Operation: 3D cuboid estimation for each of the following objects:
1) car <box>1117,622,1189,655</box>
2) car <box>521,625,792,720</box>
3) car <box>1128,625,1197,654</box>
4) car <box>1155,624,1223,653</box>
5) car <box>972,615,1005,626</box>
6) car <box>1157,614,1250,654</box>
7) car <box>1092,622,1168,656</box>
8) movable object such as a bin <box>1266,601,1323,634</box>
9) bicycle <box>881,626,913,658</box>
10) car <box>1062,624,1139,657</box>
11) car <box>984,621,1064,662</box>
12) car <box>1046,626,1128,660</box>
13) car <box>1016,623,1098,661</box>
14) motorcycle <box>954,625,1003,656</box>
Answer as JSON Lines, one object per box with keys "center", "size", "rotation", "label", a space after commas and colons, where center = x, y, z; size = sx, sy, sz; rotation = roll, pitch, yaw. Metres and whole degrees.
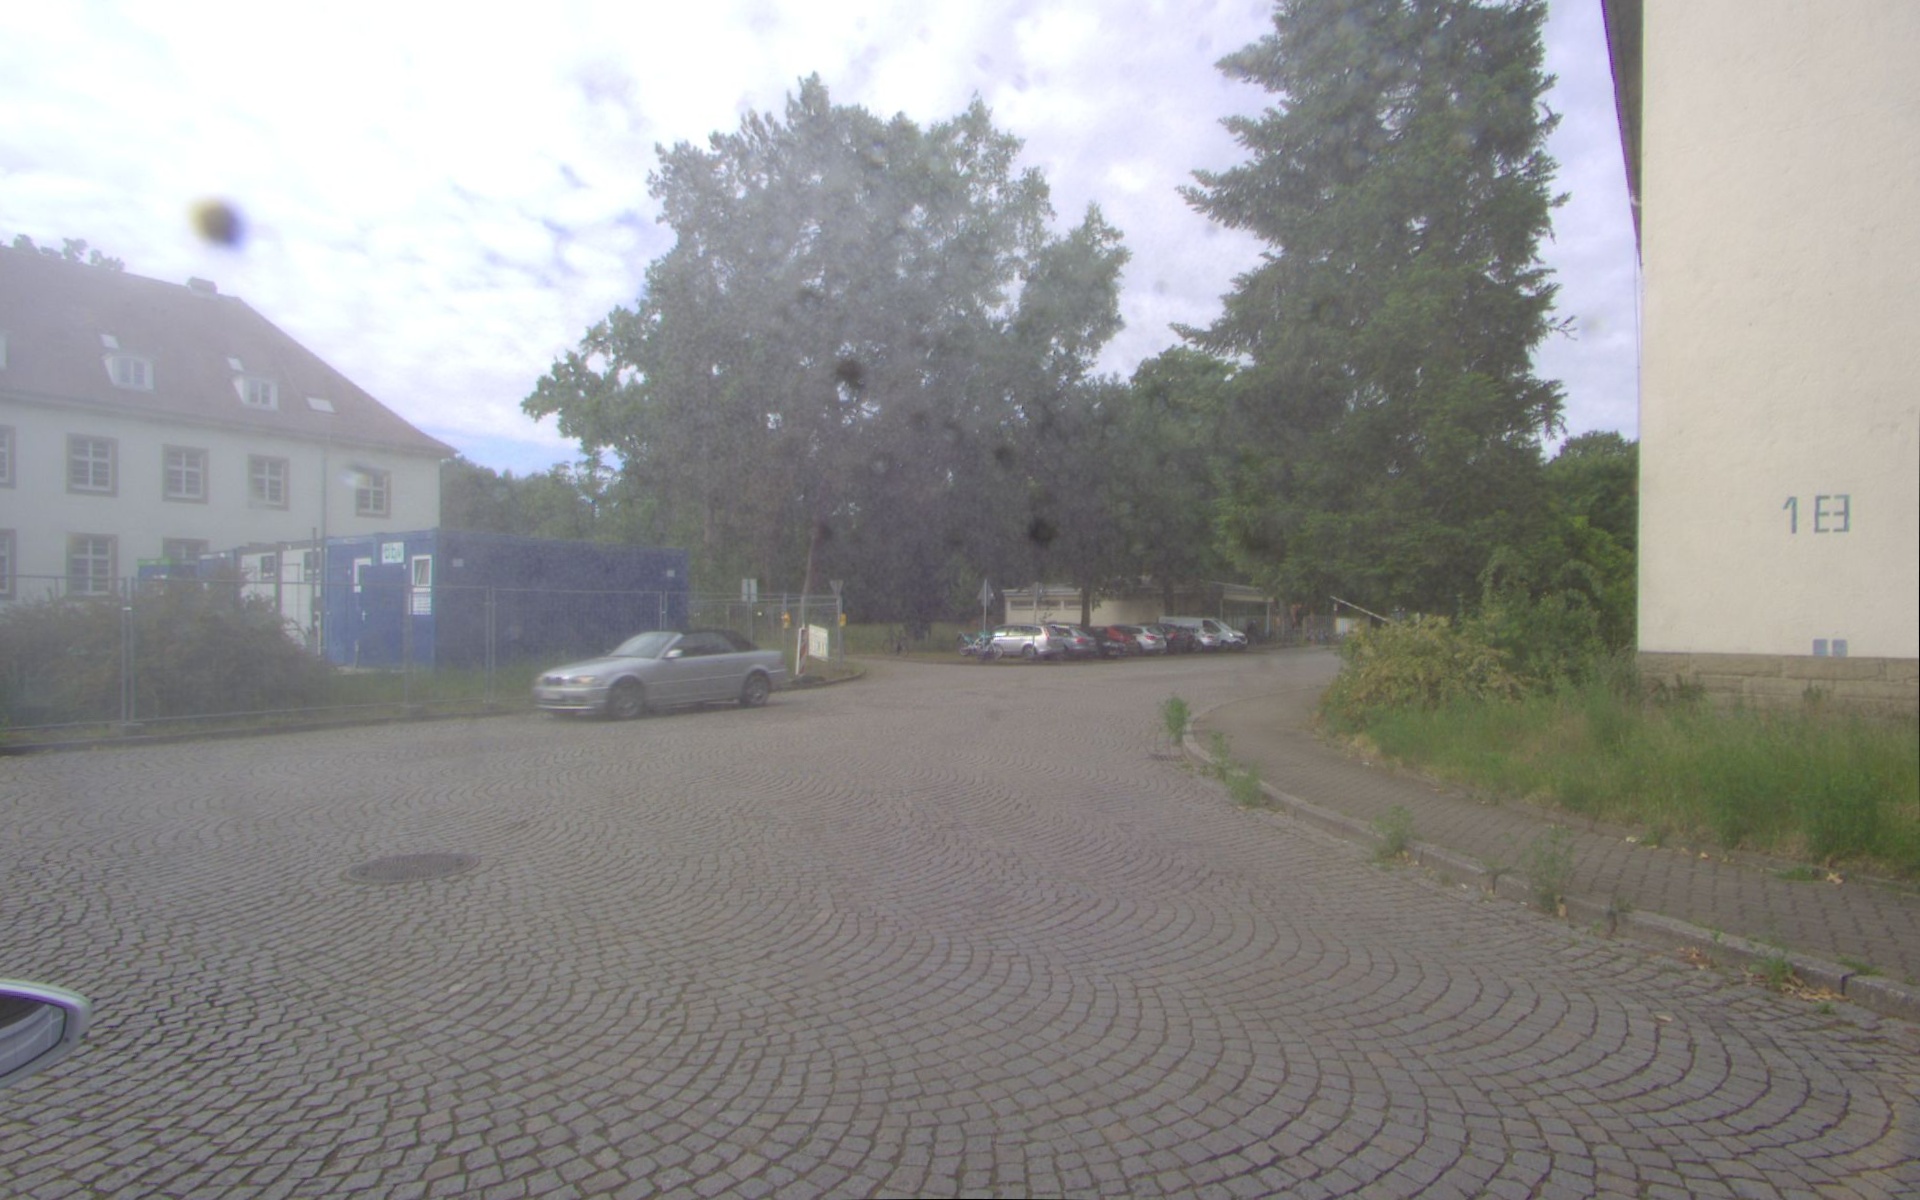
{"center": [9.942, 1.954, 51.629], "size": [3.317, 1.533, 1.558], "rotation": [2, 0, 32], "label": "car"}
{"center": [-4.847, 1.115, 16.584], "size": [1.585, 1.363, 4.270], "rotation": [-2, -2, 34], "label": "car"}
{"center": [10.881, 2.100, 53.794], "size": [3.317, 1.336, 1.467], "rotation": [2, 0, 32], "label": "car"}
{"center": [12.705, 2.135, 55.630], "size": [3.317, 1.425, 1.558], "rotation": [2, 0, 32], "label": "car"}
{"center": [2.958, 2.075, 102.805], "size": [3.326, 1.078, 1.256], "rotation": [0, -1, 2], "label": "car"}
{"center": [14.056, 1.937, 57.969], "size": [4.891, 2.017, 1.687], "rotation": [2, 0, 37], "label": "car"}
{"center": [8.334, 1.890, 49.141], "size": [3.314, 1.462, 1.559], "rotation": [2, 0, 29], "label": "car"}
{"center": [33.919, 1.784, 101.696], "size": [5.214, 3.315, 2.000], "rotation": [0, -1, 5], "label": "movable object such as a bin"}
{"center": [-2.433, 1.603, 38.419], "size": [0.507, 1.182, 1.795], "rotation": [0, -1, -30], "label": "bicycle"}
{"center": [6.693, 1.896, 47.830], "size": [3.320, 1.379, 1.439], "rotation": [2, 0, 36], "label": "car"}
{"center": [2.624, 1.692, 41.125], "size": [2.978, 1.508, 1.318], "rotation": [2, 0, 28], "label": "car"}
{"center": [5.722, 1.921, 45.158], "size": [3.313, 1.338, 1.635], "rotation": [2, 0, 28], "label": "car"}
{"center": [4.144, 1.776, 42.865], "size": [3.171, 1.467, 1.384], "rotation": [2, 0, 28], "label": "car"}
{"center": [0.707, 1.598, 39.568], "size": [1.936, 1.180, 0.516], "rotation": [0, 0, 31], "label": "motorcycle"}
